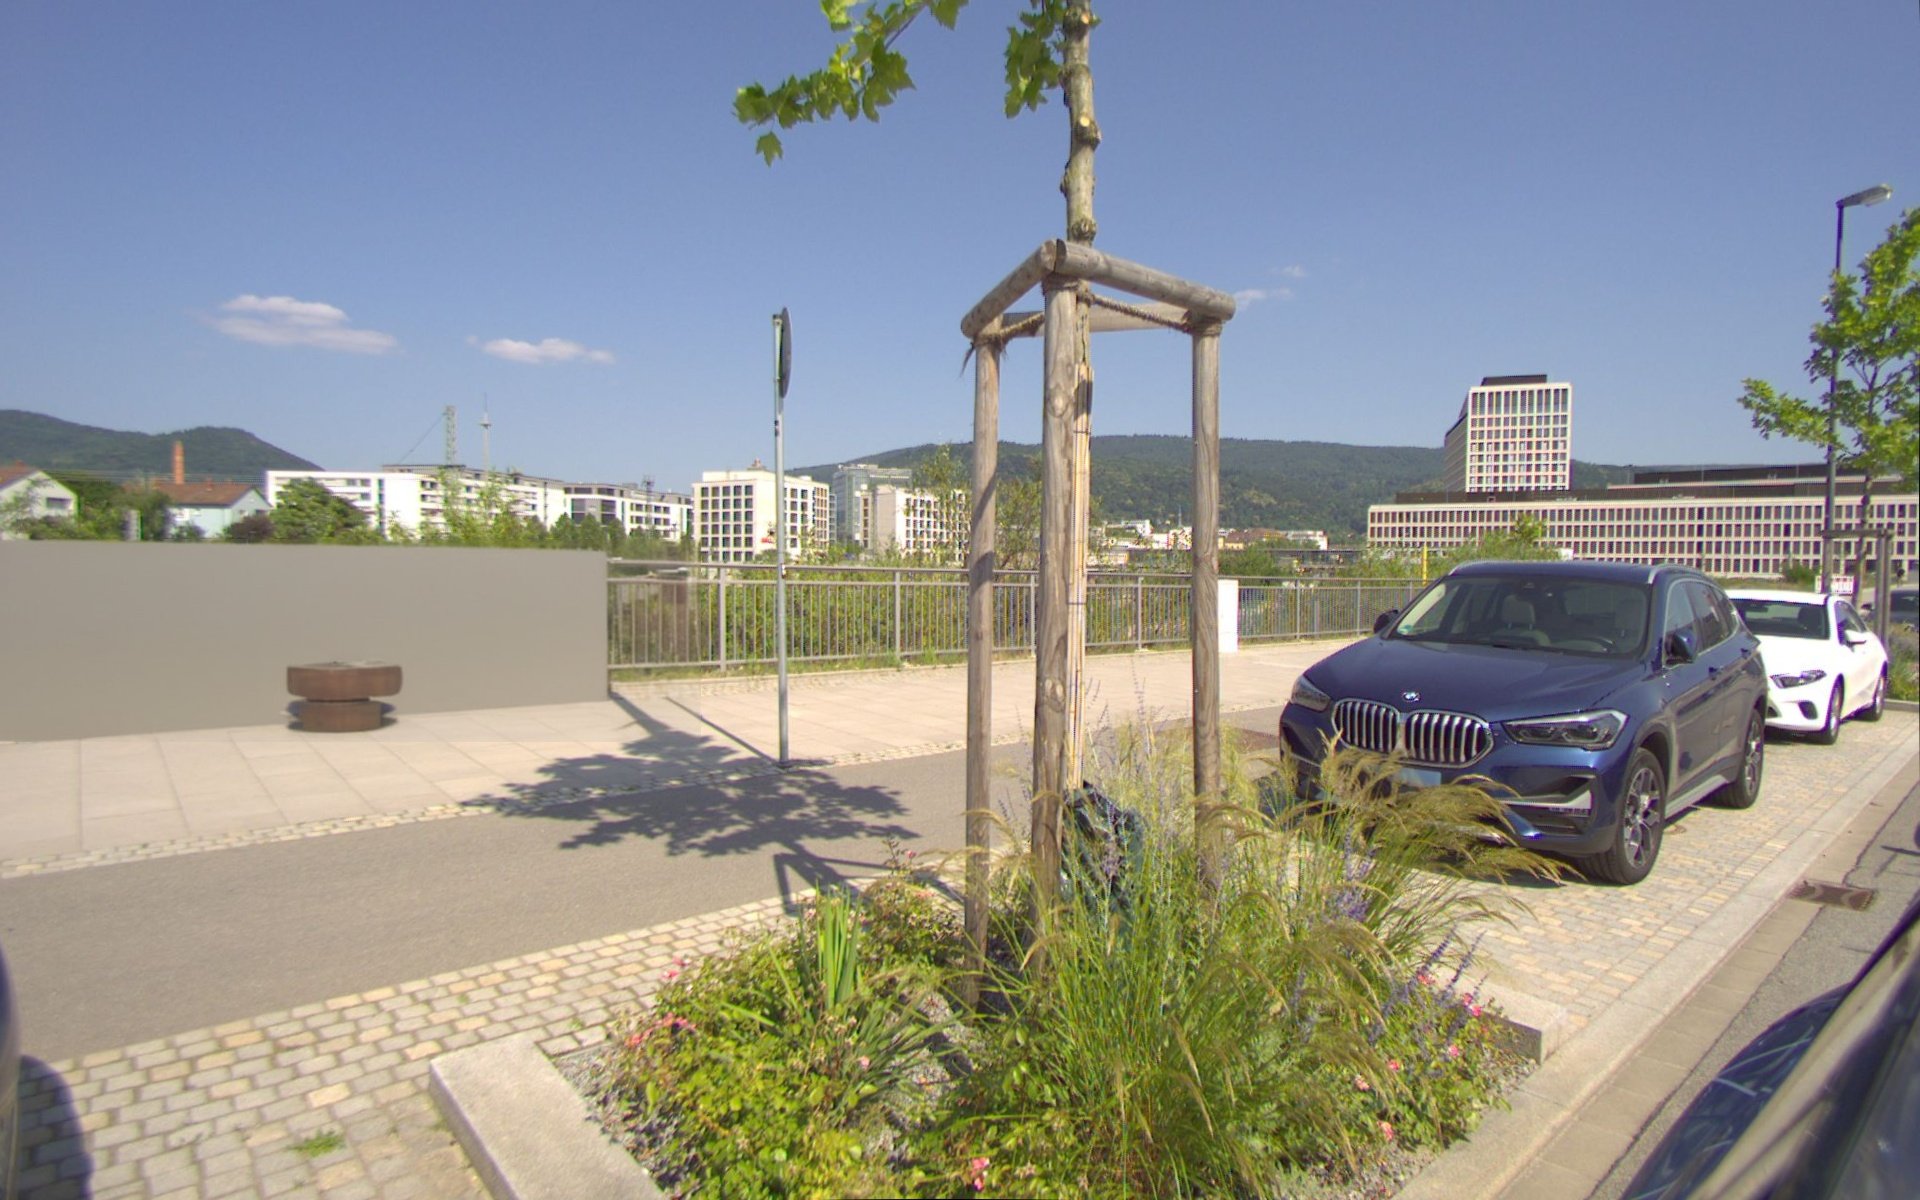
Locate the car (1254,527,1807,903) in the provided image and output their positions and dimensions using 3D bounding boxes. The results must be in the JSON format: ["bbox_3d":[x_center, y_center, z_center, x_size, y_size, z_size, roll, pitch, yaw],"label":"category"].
[{"bbox_3d":[3.810,0.472,6.423,4.164,1.627,1.768,-1,0,-41],"label":"car"}]

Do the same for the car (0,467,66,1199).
[{"bbox_3d":[-2.980,0.560,0.377,3.930,1.444,1.664,-1,4,-41],"label":"car"}]

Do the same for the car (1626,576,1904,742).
[{"bbox_3d":[8.766,0.500,10.907,3.930,1.473,1.663,-1,0,-41],"label":"car"}]

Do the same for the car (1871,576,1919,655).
[{"bbox_3d":[20.401,0.280,21.070,3.930,1.558,1.663,-1,0,-41],"label":"car"}]
